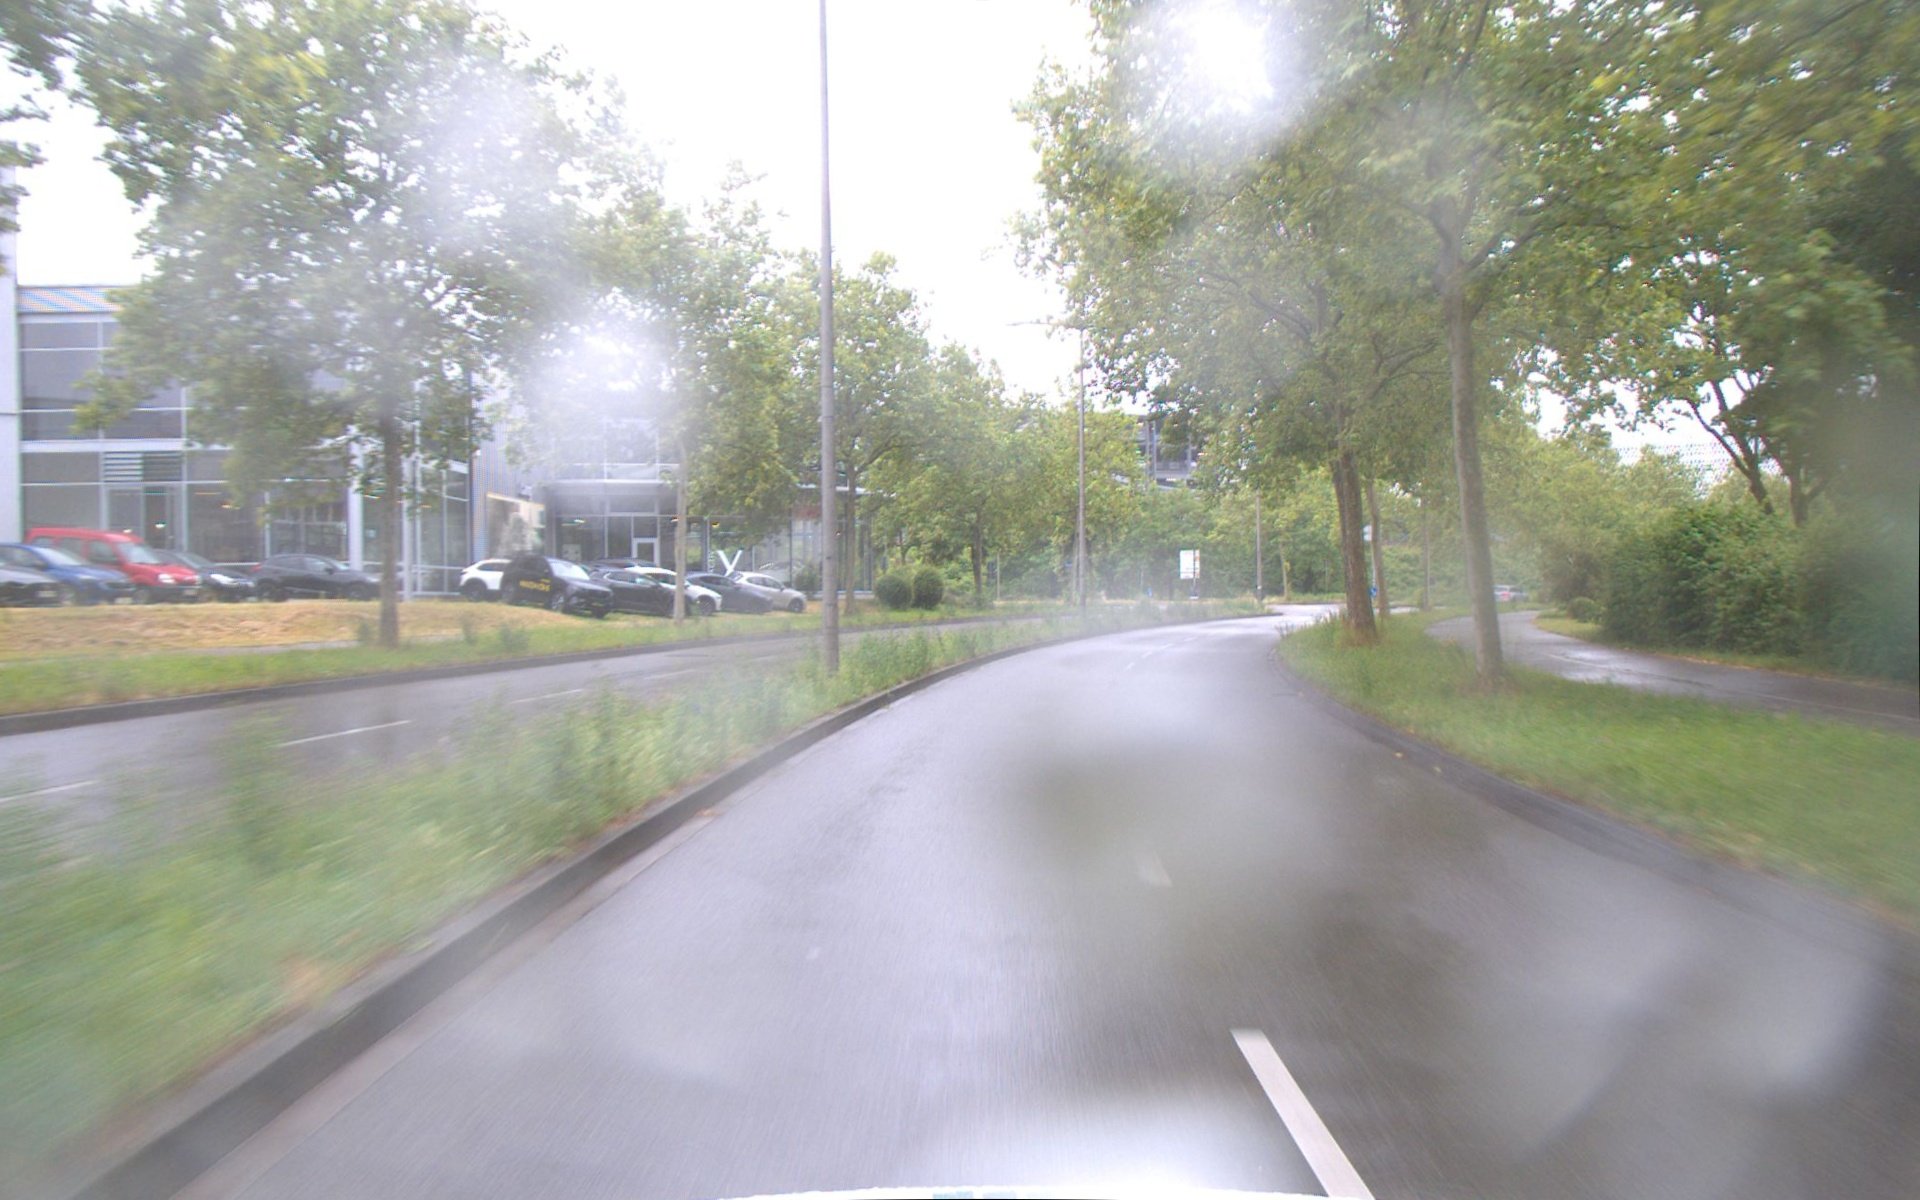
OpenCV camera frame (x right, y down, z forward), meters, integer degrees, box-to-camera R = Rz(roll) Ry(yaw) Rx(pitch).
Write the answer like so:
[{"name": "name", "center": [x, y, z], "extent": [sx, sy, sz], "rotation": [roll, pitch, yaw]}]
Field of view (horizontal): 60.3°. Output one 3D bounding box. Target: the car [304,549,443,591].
[{"name": "car", "center": [-21.048, -1.074, 59.479], "extent": [4.332, 1.499, 1.919], "rotation": [0, 1, -2]}]

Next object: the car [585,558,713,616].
[{"name": "car", "center": [-11.042, -0.465, 58.658], "extent": [4.063, 1.503, 1.835], "rotation": [6, 3, -24]}]

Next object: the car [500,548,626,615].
[{"name": "car", "center": [-13.194, -0.631, 54.850], "extent": [4.362, 1.582, 1.836], "rotation": [10, 4, 42]}]

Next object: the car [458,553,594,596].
[{"name": "car", "center": [-15.600, -0.922, 59.556], "extent": [4.328, 1.499, 1.921], "rotation": [0, 1, 5]}]

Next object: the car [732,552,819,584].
[{"name": "car", "center": [-8.989, -1.547, 80.788], "extent": [1.755, 1.501, 4.084], "rotation": [1, 1, 44]}]

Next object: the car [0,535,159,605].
[{"name": "car", "center": [-19.818, -0.680, 36.441], "extent": [3.448, 1.349, 1.770], "rotation": [3, 2, 7]}]

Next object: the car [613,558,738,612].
[{"name": "car", "center": [-10.579, -0.544, 61.574], "extent": [4.076, 1.503, 1.829], "rotation": [5, 3, -32]}]

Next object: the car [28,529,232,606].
[{"name": "car", "center": [-19.588, -0.781, 39.111], "extent": [3.911, 1.584, 1.849], "rotation": [3, 2, 7]}]

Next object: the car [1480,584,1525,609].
[{"name": "car", "center": [37.404, -0.283, 113.964], "extent": [1.751, 1.582, 3.983], "rotation": [2, 3, 38]}]

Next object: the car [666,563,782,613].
[{"name": "car", "center": [-9.339, -0.464, 65.394], "extent": [4.070, 1.446, 1.832], "rotation": [6, 3, -29]}]

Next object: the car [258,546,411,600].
[{"name": "car", "center": [-18.504, -0.806, 49.097], "extent": [3.924, 1.381, 1.843], "rotation": [2, 2, -11]}]

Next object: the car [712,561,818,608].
[{"name": "car", "center": [-8.186, -0.658, 69.547], "extent": [3.957, 1.500, 1.763], "rotation": [5, 3, -37]}]

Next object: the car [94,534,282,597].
[{"name": "car", "center": [-19.577, -0.891, 41.999], "extent": [3.911, 1.381, 1.849], "rotation": [3, 2, 7]}]

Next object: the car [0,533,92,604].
[{"name": "car", "center": [-20.112, -0.706, 34.162], "extent": [3.448, 1.349, 1.770], "rotation": [3, 2, 7]}]
